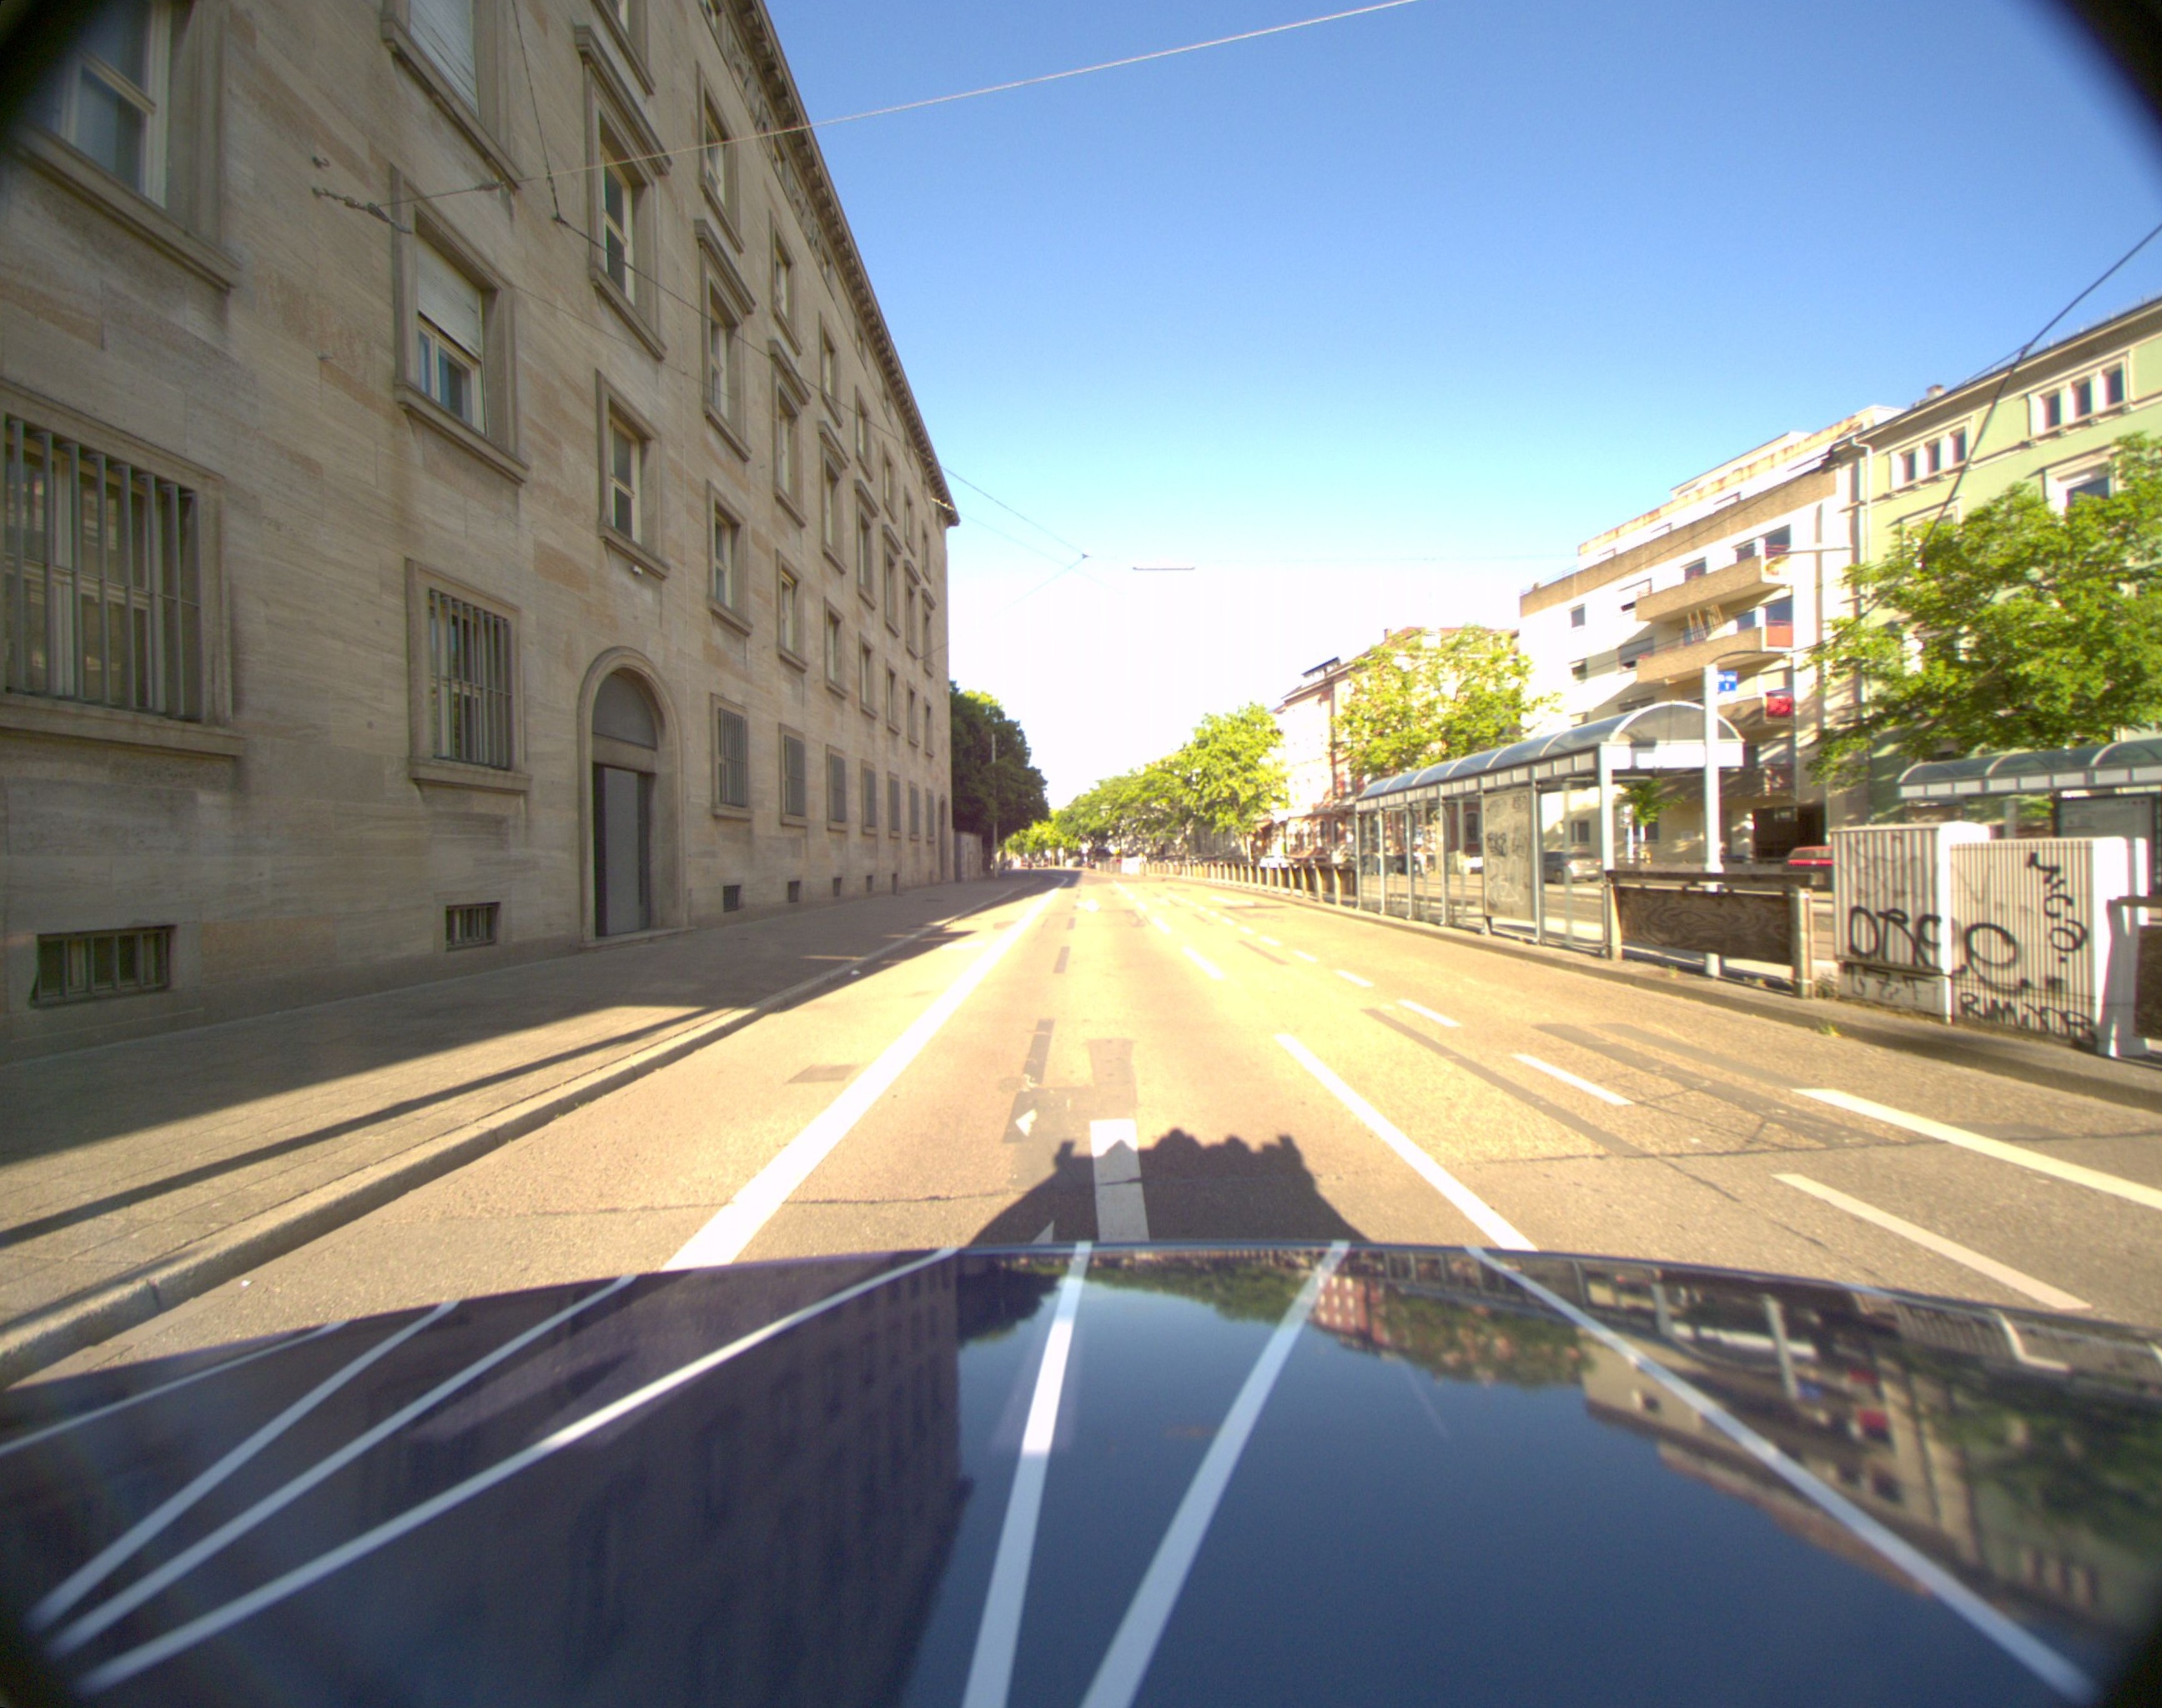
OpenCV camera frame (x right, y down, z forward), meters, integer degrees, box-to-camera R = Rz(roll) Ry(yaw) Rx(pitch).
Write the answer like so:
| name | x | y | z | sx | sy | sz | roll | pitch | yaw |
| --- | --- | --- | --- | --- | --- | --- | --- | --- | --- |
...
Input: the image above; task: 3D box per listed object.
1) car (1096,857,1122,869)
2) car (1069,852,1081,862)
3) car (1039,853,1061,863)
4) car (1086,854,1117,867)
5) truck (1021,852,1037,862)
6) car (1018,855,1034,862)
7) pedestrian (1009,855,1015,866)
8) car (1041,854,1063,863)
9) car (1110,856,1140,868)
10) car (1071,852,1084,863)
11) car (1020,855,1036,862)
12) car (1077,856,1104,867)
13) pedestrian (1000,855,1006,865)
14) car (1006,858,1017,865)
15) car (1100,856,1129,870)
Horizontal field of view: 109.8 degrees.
| name | x | y | z | sx | sy | sz | roll | pitch | yaw |
| --- | --- | --- | --- | --- | --- | --- | --- | --- | --- |
| car | 4.182 | 1.314 | 114.705 | 1.744 | 1.511 | 3.772 | -2 | 2 | 44 |
| car | -1.208 | 0.616 | 145.570 | 1.673 | 1.886 | 3.211 | -1 | 0 | -12 |
| car | -6.544 | 0.851 | 160.760 | 4.311 | 1.940 | 1.670 | -4 | 1 | -18 |
| car | 3.160 | 1.014 | 117.025 | 4.366 | 1.704 | 1.944 | -4 | 2 | -35 |
| truck | -13.080 | 0.704 | 190.249 | 3.774 | 2.409 | 1.671 | -4 | 1 | -13 |
| car | -14.327 | 1.117 | 196.551 | 3.775 | 1.584 | 1.670 | -4 | 1 | -18 |
| pedestrian | -11.321 | 1.084 | 124.811 | 0.872 | 1.710 | 0.804 | -1 | 1 | -3 |
| car | -6.046 | 0.897 | 156.970 | 4.105 | 1.561 | 1.670 | -4 | 1 | -18 |
| car | 6.330 | 1.100 | 108.544 | 4.208 | 1.549 | 1.636 | -3 | 1 | -41 |
| car | -0.636 | 0.639 | 141.452 | 1.673 | 1.886 | 3.211 | -1 | 0 | -12 |
| car | -13.417 | 1.123 | 193.080 | 3.775 | 1.584 | 1.670 | -4 | 1 | -18 |
| car | 1.492 | 1.163 | 119.417 | 4.007 | 1.477 | 1.777 | -4 | 2 | -44 |
| pedestrian | -12.793 | 1.017 | 124.816 | 0.831 | 1.710 | 0.804 | -1 | 1 | -6 |
| car | -16.398 | 1.663 | 178.964 | 1.878 | 1.591 | 4.421 | -1 | 0 | -16 |
| car | 4.990 | 1.303 | 111.744 | 4.208 | 1.714 | 1.780 | -4 | 2 | -44 |
